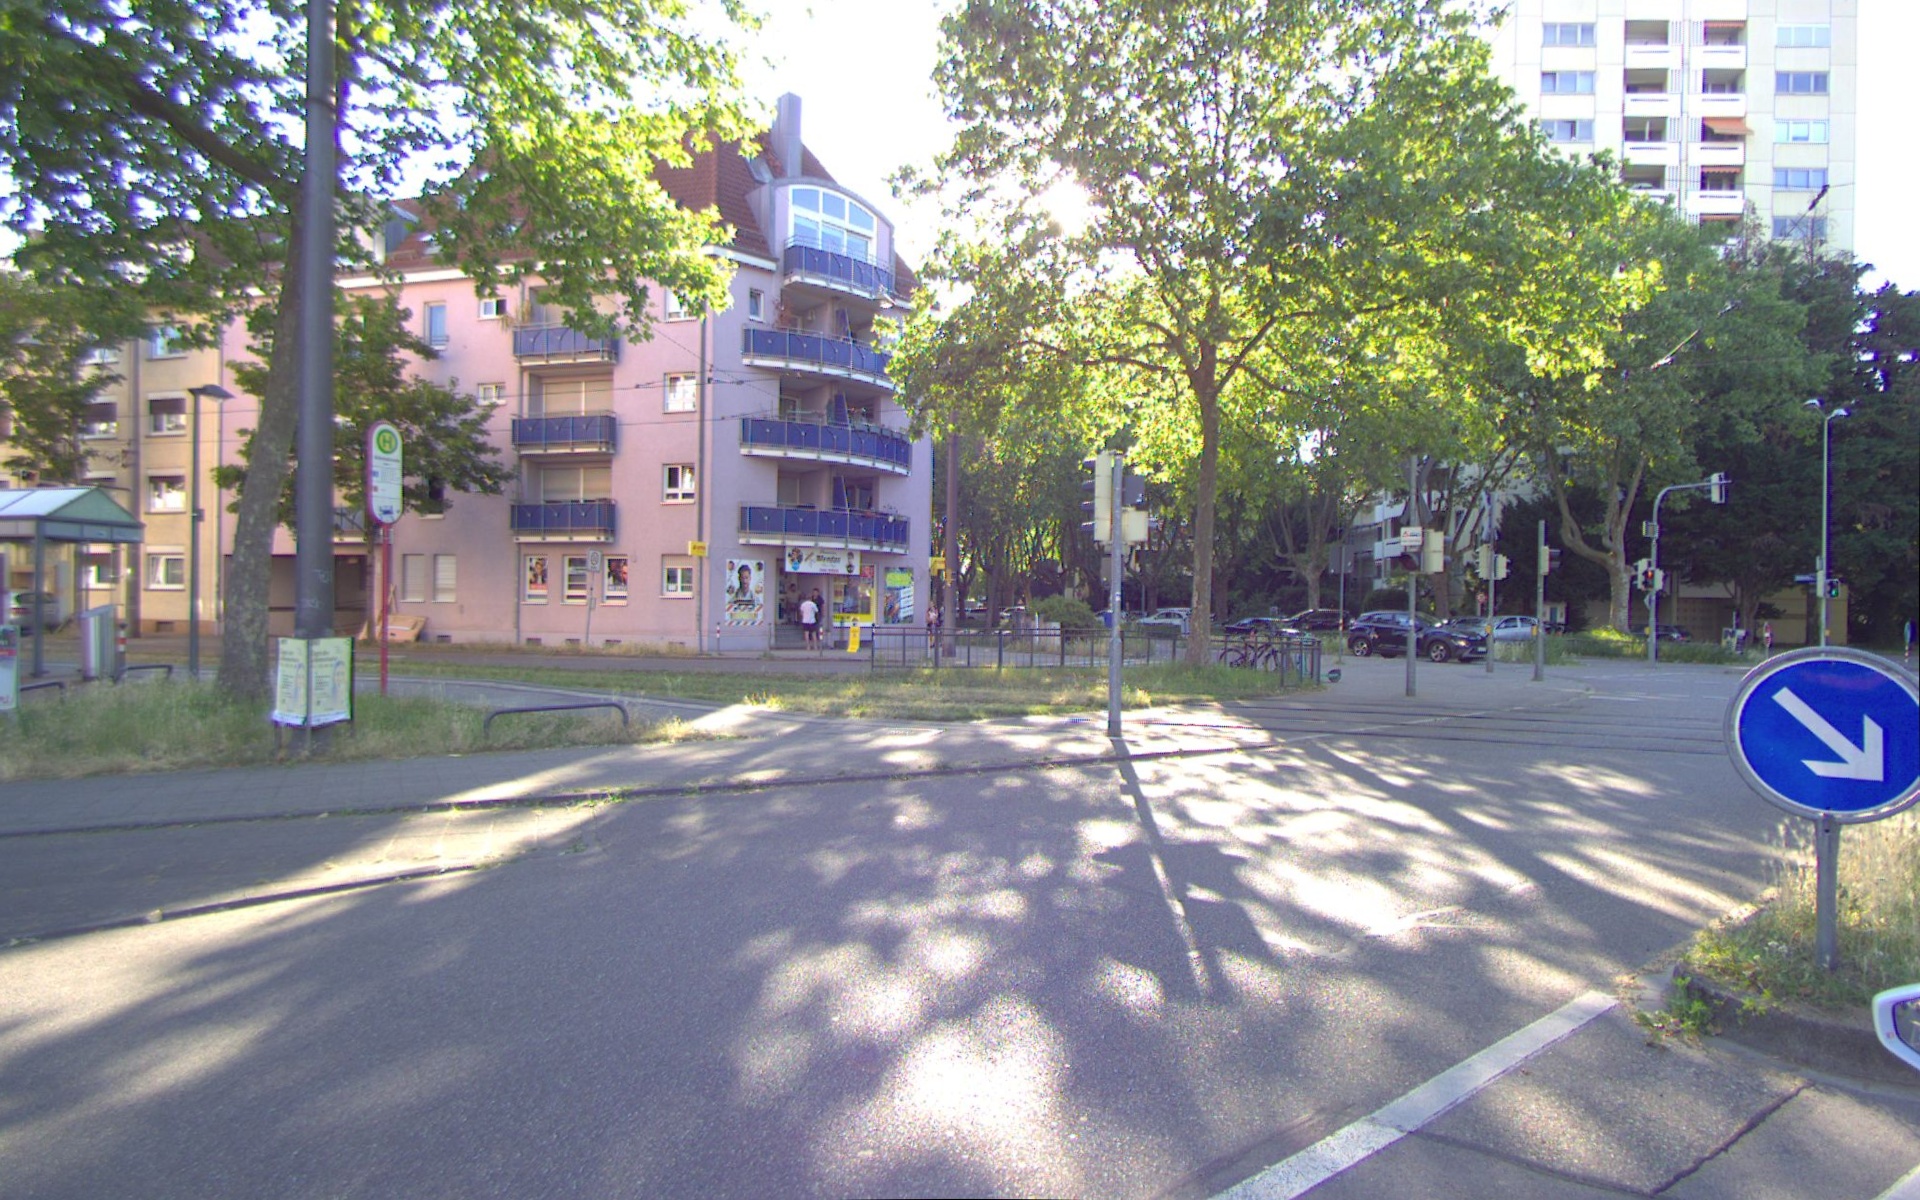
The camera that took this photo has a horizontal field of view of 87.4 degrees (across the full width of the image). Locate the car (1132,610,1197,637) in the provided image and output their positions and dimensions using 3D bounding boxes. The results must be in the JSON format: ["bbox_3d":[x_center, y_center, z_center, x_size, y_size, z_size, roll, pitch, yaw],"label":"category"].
[{"bbox_3d":[13.409,1.552,65.982,3.921,1.617,1.738,2,0,0],"label":"car"}]

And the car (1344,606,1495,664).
[{"bbox_3d":[14.317,1.056,31.455,1.722,1.617,3.959,2,0,-36],"label":"car"}]

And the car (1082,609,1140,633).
[{"bbox_3d":[11.090,1.524,73.896,3.921,1.617,1.738,2,0,0],"label":"car"}]

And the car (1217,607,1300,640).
[{"bbox_3d":[15.919,1.241,53.680,3.921,1.617,1.738,2,0,0],"label":"car"}]

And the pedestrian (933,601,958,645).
[{"bbox_3d":[-0.565,0.916,39.506,0.909,1.689,0.619,2,0,-5],"label":"pedestrian"}]

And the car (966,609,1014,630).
[{"bbox_3d":[2.615,1.670,86.365,3.919,1.617,1.739,2,0,9],"label":"car"}]

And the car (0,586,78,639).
[{"bbox_3d":[-33.472,0.396,35.217,4.029,1.728,1.940,2,0,16],"label":"car"}]

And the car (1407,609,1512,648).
[{"bbox_3d":[22.848,1.298,46.032,3.921,1.617,1.738,2,0,0],"label":"car"}]

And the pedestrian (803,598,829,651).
[{"bbox_3d":[-4.685,0.796,32.681,0.610,1.689,0.549,2,0,38],"label":"pedestrian"}]

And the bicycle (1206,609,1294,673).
[{"bbox_3d":[6.407,0.887,22.244,1.811,1.324,0.382,2,0,34],"label":"bicycle"}]

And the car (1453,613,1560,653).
[{"bbox_3d":[23.887,1.431,43.981,3.732,1.617,1.738,2,0,0],"label":"car"}]

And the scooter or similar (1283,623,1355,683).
[{"bbox_3d":[7.929,1.161,22.203,1.412,1.255,0.414,2,0,9],"label":"scooter or similar"}]

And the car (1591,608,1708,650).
[{"bbox_3d":[31.630,1.303,46.201,1.971,1.798,3.979,2,0,-22],"label":"car"}]

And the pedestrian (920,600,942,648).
[{"bbox_3d":[-1.034,0.857,35.774,0.540,1.689,0.620,2,0,18],"label":"pedestrian"}]
